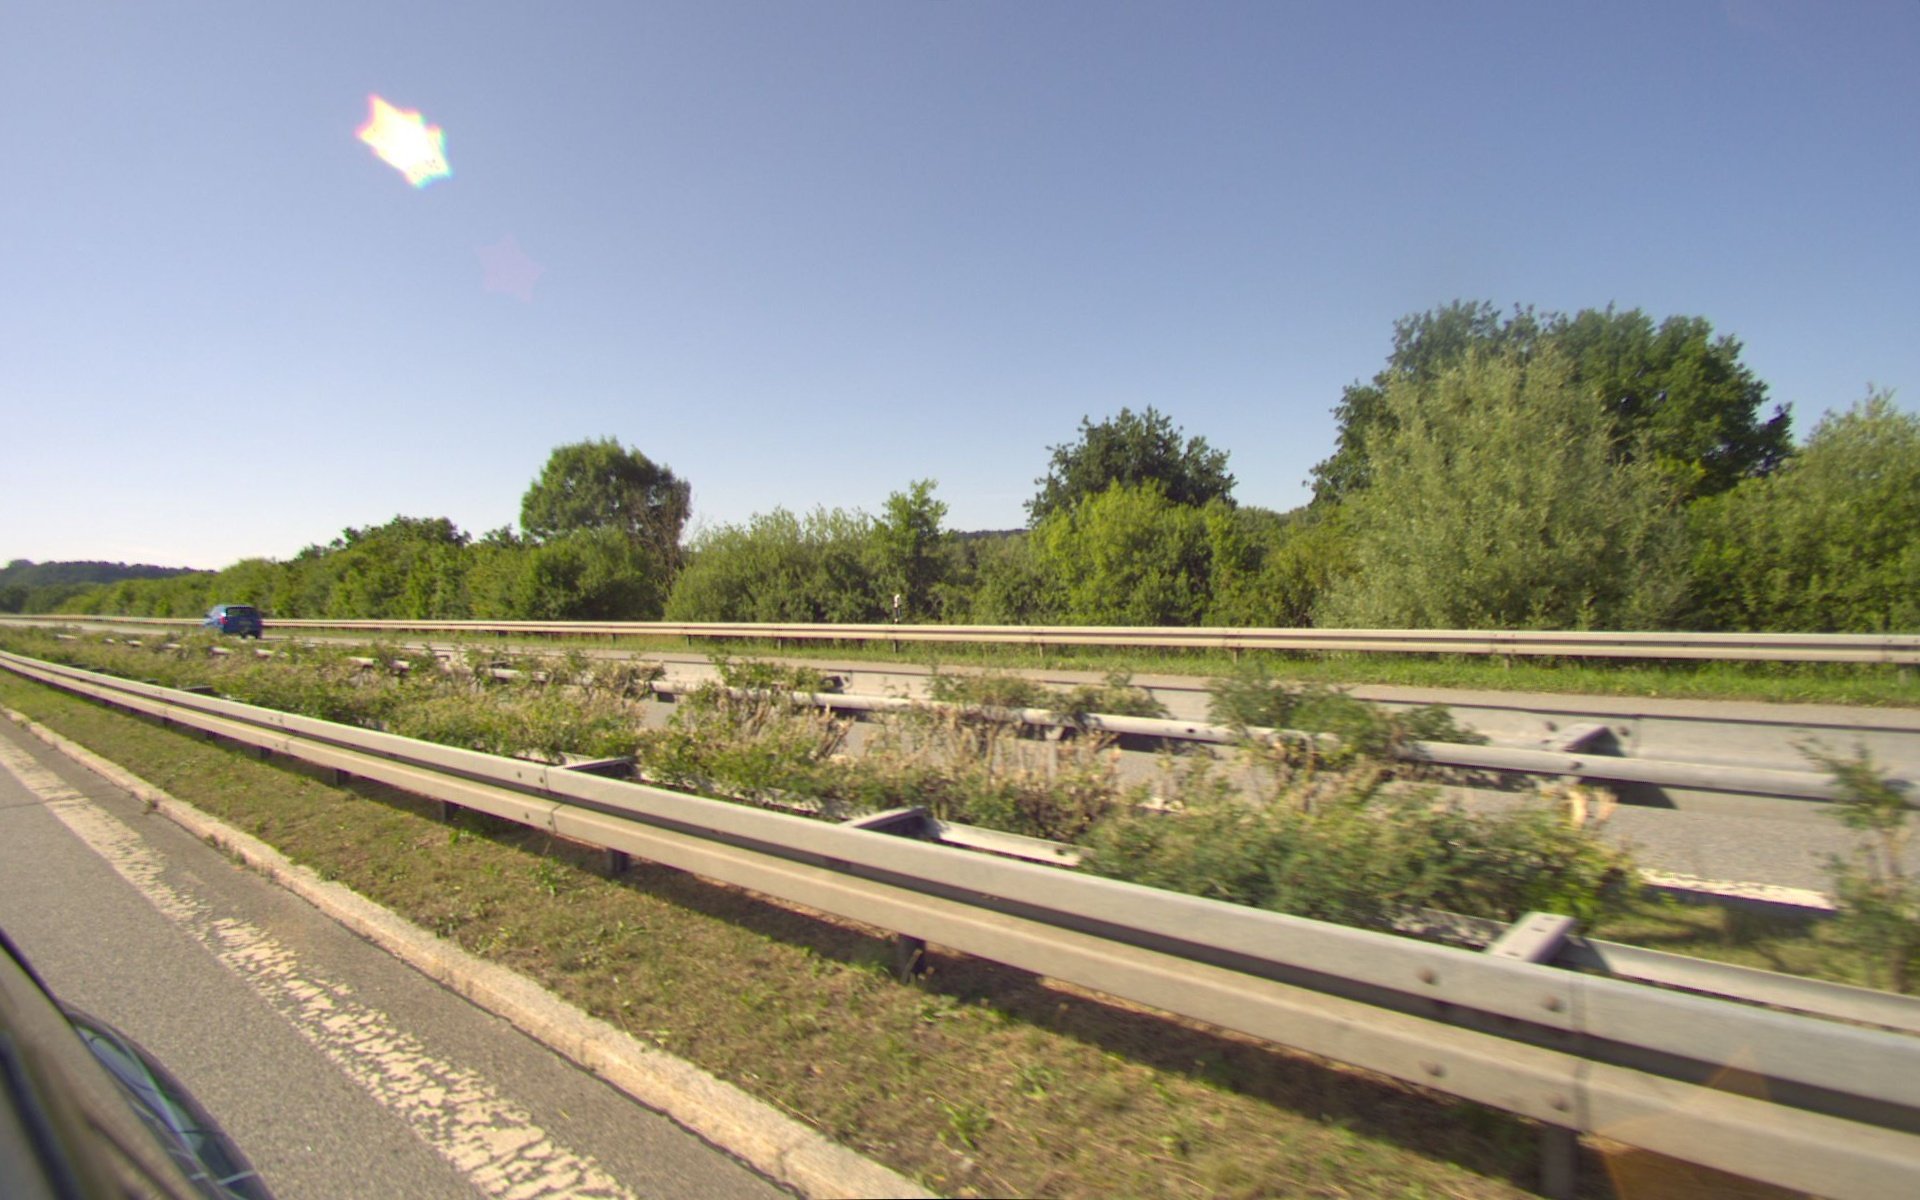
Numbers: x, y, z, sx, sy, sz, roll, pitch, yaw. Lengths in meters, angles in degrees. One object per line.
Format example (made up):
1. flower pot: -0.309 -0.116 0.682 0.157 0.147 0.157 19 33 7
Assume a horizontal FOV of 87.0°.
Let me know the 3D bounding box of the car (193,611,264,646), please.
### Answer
1. car: -32.029 1.226 44.283 3.998 1.452 1.658 -1 -1 41
